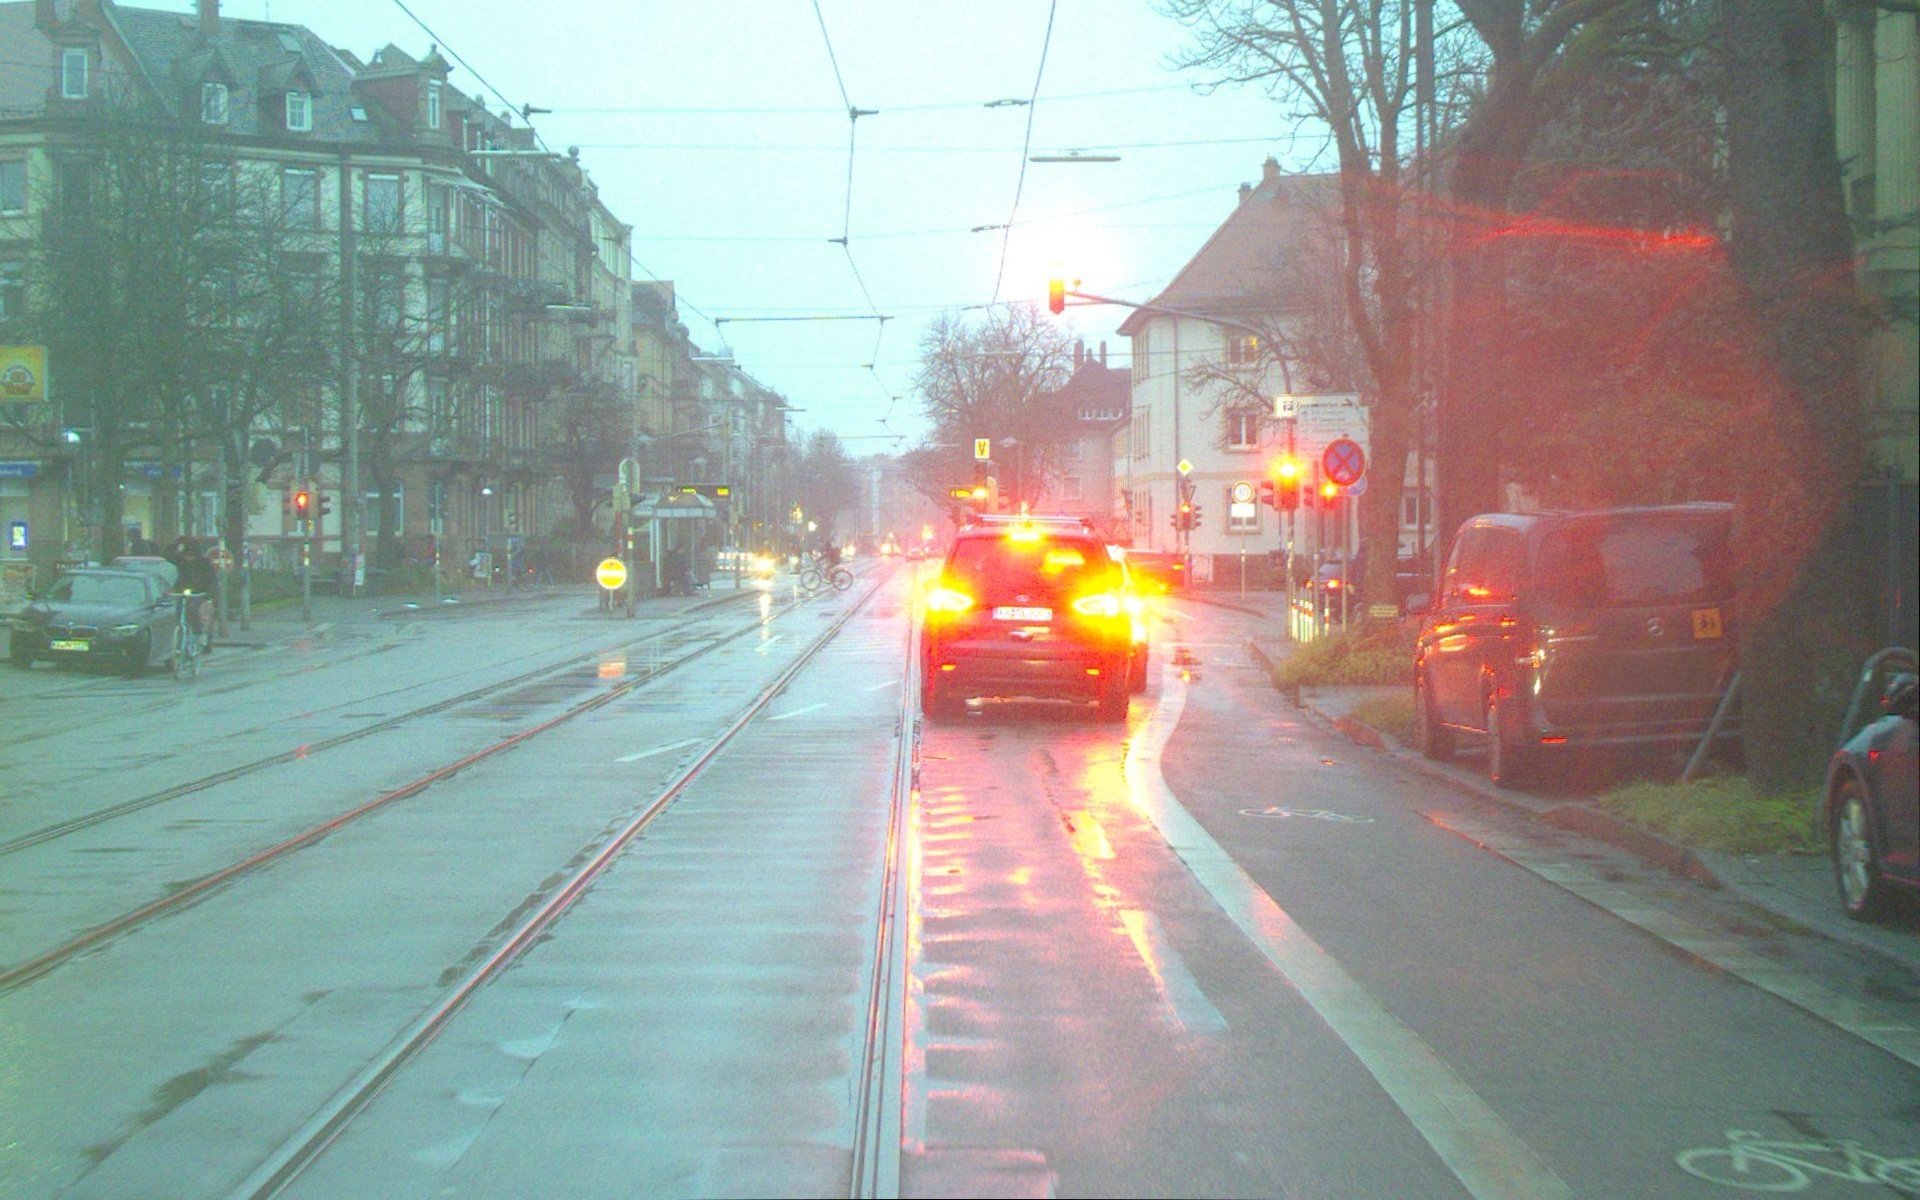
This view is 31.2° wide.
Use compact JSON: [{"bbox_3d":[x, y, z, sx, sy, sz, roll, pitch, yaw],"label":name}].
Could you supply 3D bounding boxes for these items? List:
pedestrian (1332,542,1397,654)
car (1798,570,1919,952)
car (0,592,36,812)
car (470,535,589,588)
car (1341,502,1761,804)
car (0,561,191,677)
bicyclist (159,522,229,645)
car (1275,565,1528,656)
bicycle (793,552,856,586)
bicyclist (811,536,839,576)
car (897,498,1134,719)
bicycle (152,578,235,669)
[{"bbox_3d":[7.454,-0.045,63.423,1.022,2.006,0.919,-1,2,-4],"label":"pedestrian"},{"bbox_3d":[4.566,0.637,13.052,1.677,1.455,4.043,-1,1,-1],"label":"car"},{"bbox_3d":[-6.095,0.621,17.869,1.660,1.194,3.875,-1,2,-2],"label":"car"},{"bbox_3d":[-14.744,-1.312,117.634,3.986,1.711,1.904,-1,2,-9],"label":"car"},{"bbox_3d":[4.063,0.269,24.520,1.993,1.894,5.028,-1,2,-1],"label":"car"},{"bbox_3d":[-11.988,0.233,47.535,1.833,1.442,4.001,-1,2,-1],"label":"car"},{"bbox_3d":[-10.153,-0.226,45.598,0.716,1.597,0.931,-1,2,-2],"label":"bicyclist"},{"bbox_3d":[9.157,0.197,71.307,4.944,1.711,1.698,-1,2,-19],"label":"car"},{"bbox_3d":[-4.692,-1.081,119.441,2.103,1.129,0.557,-1,2,-14],"label":"bicycle"},{"bbox_3d":[-4.691,-1.526,119.442,0.822,1.371,0.557,-1,2,-14],"label":"bicyclist"},{"bbox_3d":[0.436,0.068,32.191,1.993,1.890,4.759,1,0,-2],"label":"car"},{"bbox_3d":[-10.134,0.298,45.499,0.716,1.106,2.065,-1,2,-3],"label":"bicycle"}]
